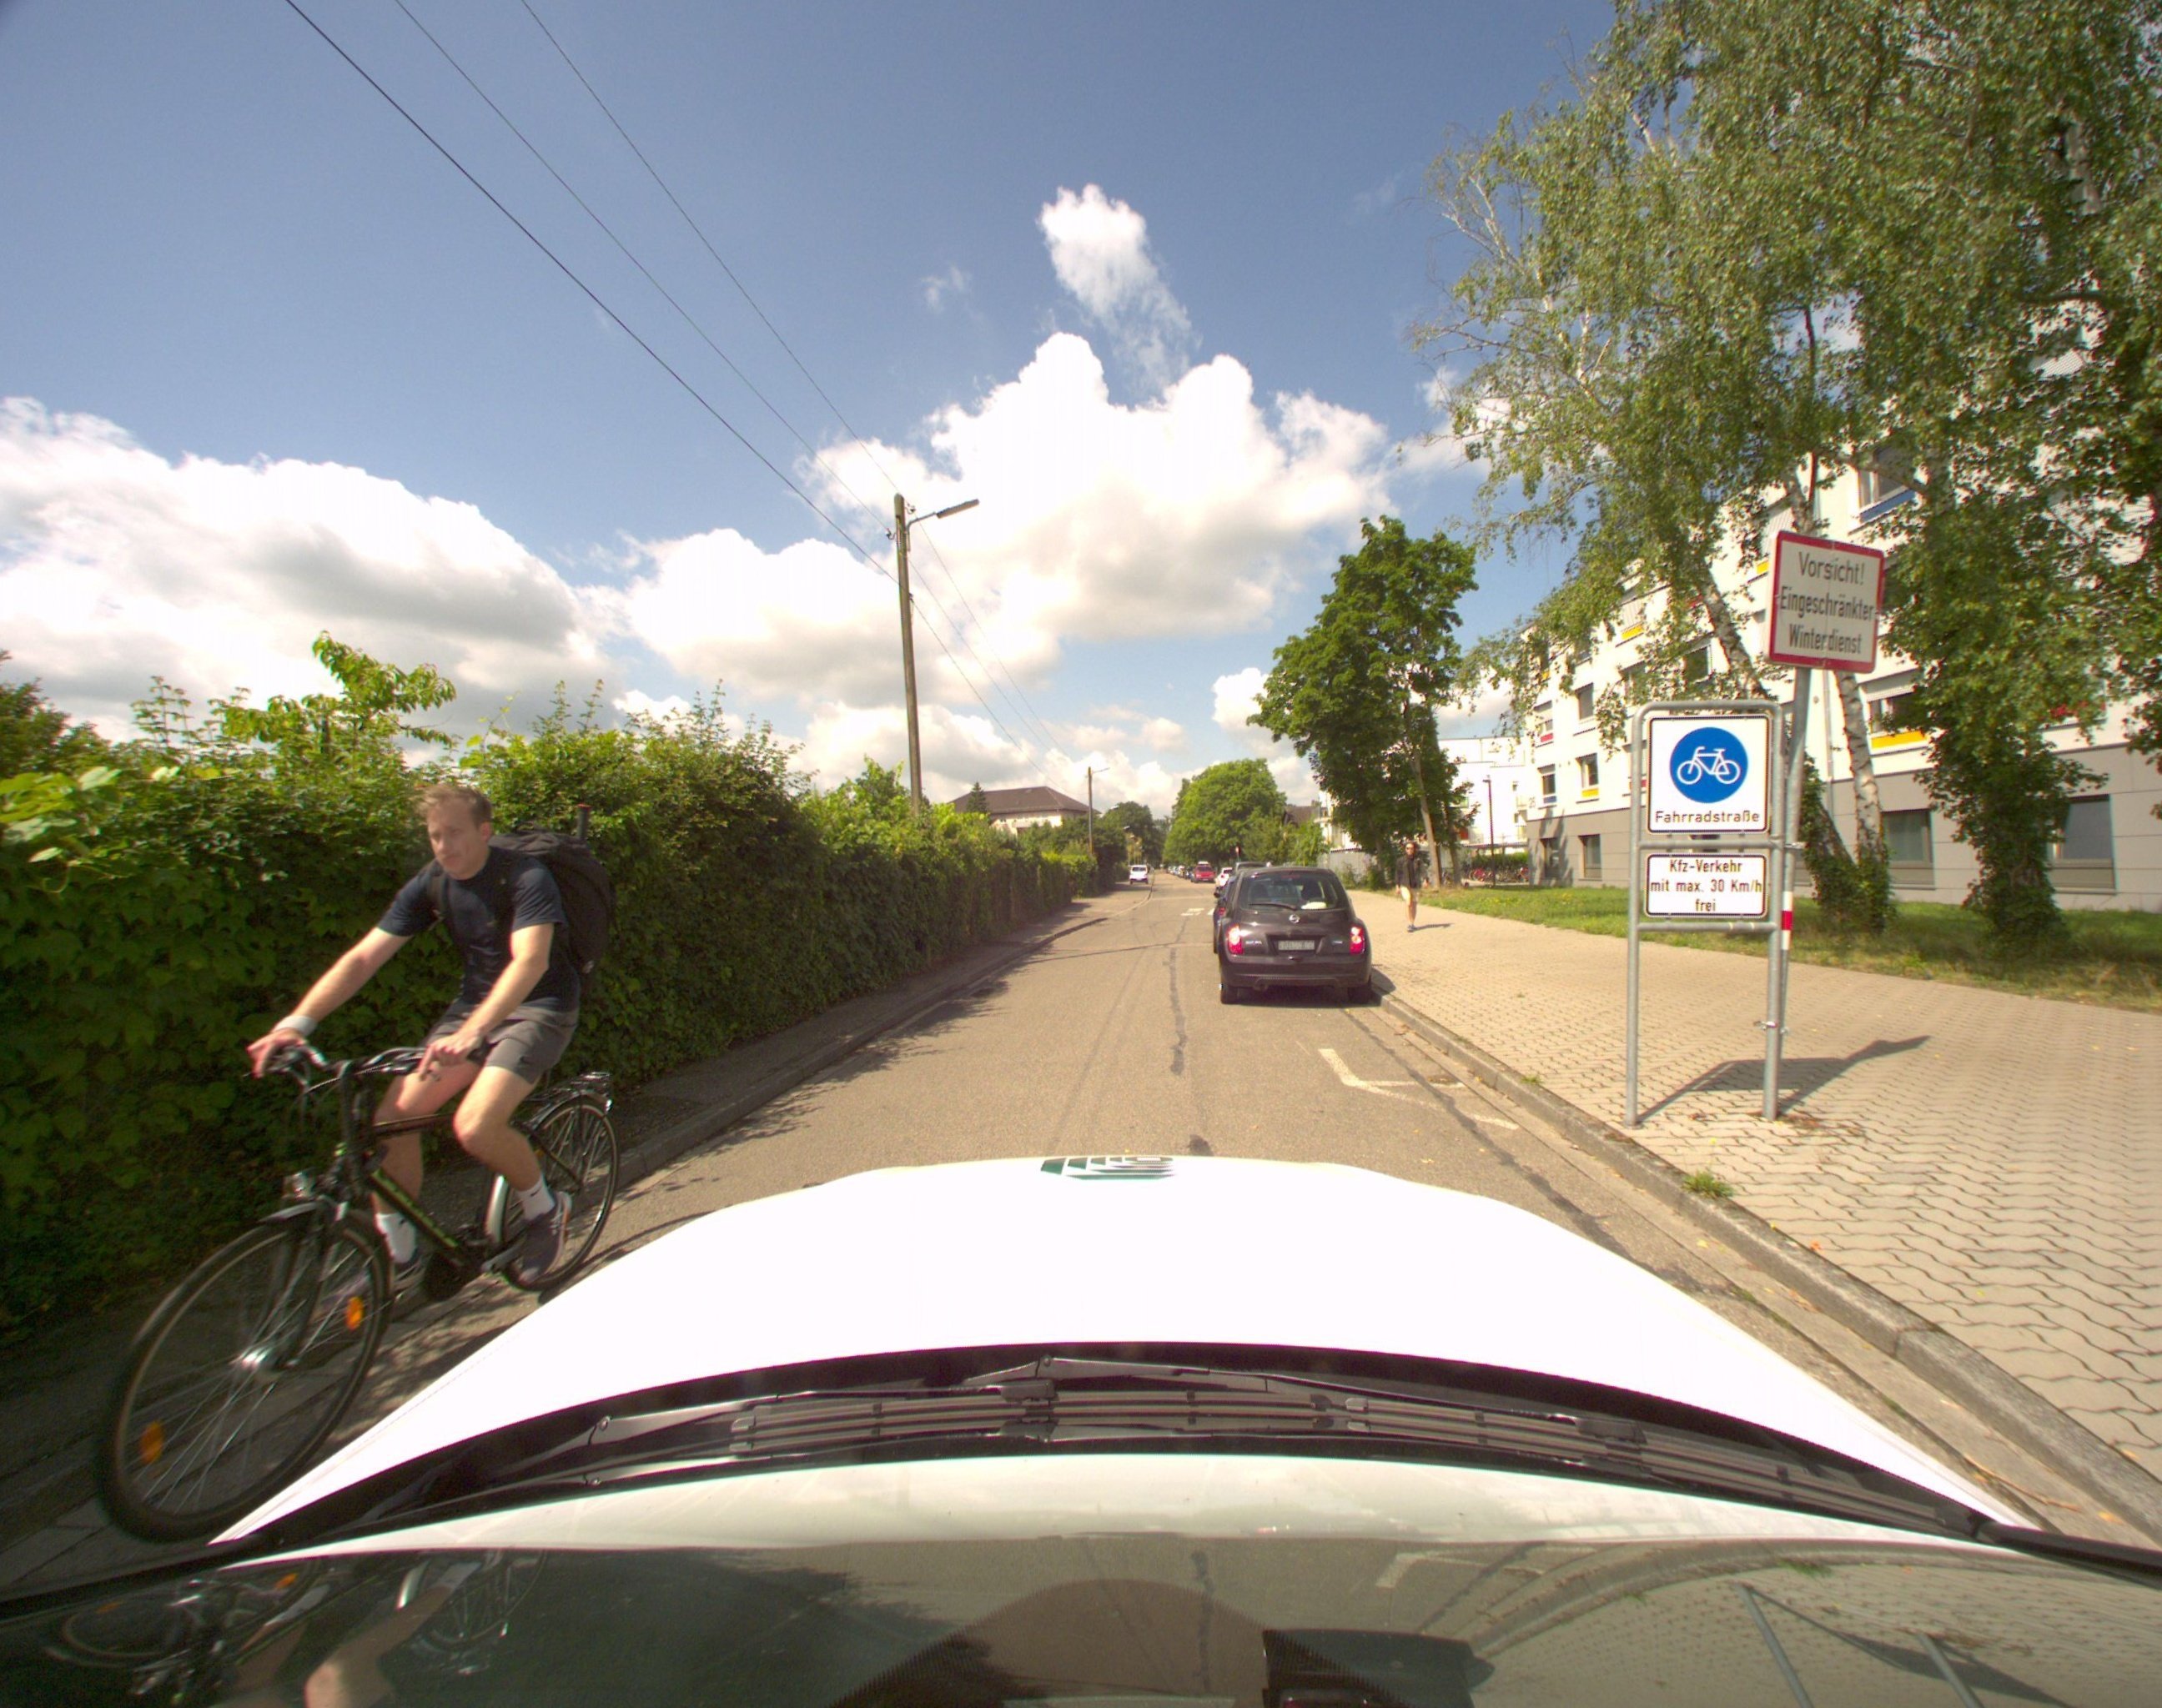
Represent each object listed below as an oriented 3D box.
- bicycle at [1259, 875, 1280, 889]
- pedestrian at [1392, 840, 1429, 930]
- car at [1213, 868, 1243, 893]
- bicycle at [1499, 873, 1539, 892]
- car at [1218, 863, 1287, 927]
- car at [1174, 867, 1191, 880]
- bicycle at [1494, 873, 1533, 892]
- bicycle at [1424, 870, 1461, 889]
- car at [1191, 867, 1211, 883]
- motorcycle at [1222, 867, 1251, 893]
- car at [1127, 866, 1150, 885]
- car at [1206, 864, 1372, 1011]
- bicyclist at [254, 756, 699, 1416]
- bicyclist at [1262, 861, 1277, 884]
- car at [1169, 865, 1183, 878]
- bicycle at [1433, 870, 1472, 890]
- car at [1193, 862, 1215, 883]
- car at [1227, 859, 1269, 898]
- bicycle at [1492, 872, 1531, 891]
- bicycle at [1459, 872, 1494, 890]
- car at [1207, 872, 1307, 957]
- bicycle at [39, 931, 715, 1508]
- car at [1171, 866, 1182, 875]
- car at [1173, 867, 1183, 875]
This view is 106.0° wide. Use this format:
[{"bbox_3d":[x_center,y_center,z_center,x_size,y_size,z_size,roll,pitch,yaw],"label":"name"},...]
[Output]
[{"bbox_3d":[14.552,2.137,62.730,0.850,1.027,1.832,-2,-2,38],"label":"bicycle"},{"bbox_3d":[6.525,0.614,16.173,0.605,1.746,0.725,-1,-2,18],"label":"pedestrian"},{"bbox_3d":[9.483,1.686,52.774,1.669,1.519,4.008,-1,-2,8],"label":"car"},{"bbox_3d":[27.180,1.756,50.545,2.035,1.079,0.689,-4,-2,8],"label":"bicycle"},{"bbox_3d":[4.613,1.062,21.889,1.652,1.552,3.649,-1,-2,12],"label":"car"},{"bbox_3d":[12.877,2.467,102.905,2.047,1.652,4.550,-1,-2,8],"label":"car"},{"bbox_3d":[27.343,1.785,51.496,2.035,1.079,0.689,-4,-2,8],"label":"bicycle"},{"bbox_3d":[23.319,1.638,52.532,2.035,1.079,0.689,-4,-2,8],"label":"bicycle"},{"bbox_3d":[12.758,2.214,86.726,2.047,1.652,4.550,-1,-2,8],"label":"car"},{"bbox_3d":[8.161,1.356,42.833,1.420,1.362,0.870,-1,-2,6],"label":"motorcycle"},{"bbox_3d":[5.586,2.087,78.710,1.892,1.814,4.008,-1,-2,8],"label":"car"},{"bbox_3d":[2.498,0.910,10.459,1.653,1.506,4.011,-1,-2,10],"label":"car"},{"bbox_3d":[-1.999,0.675,2.857,0.655,1.852,1.045,-4,-2,7],"label":"bicyclist"},{"bbox_3d":[14.530,1.416,62.734,0.777,1.786,0.900,-2,-2,37],"label":"bicyclist"},{"bbox_3d":[14.921,2.745,127.971,2.047,1.962,4.550,-1,-2,8],"label":"car"},{"bbox_3d":[23.162,1.618,50.819,2.076,1.119,0.626,-4,-2,9],"label":"bicycle"},{"bbox_3d":[11.744,1.779,78.092,2.047,1.926,4.550,-1,-2,8],"label":"car"},{"bbox_3d":[8.080,1.173,39.555,1.863,1.806,3.441,-1,-2,10],"label":"car"},{"bbox_3d":[27.599,1.767,52.246,2.035,1.079,0.689,-4,-2,8],"label":"bicycle"},{"bbox_3d":[27.711,1.892,57.079,2.035,1.079,0.689,-4,-2,8],"label":"bicycle"},{"bbox_3d":[3.363,1.079,16.007,1.653,1.440,4.218,-1,-2,10],"label":"car"},{"bbox_3d":[-2.039,0.919,2.771,0.515,1.150,1.830,-4,-2,7],"label":"bicycle"},{"bbox_3d":[18.478,3.273,157.793,1.841,1.618,4.010,-2,-2,10],"label":"car"},{"bbox_3d":[20.526,3.631,172.200,1.841,1.618,4.010,-1,-2,10],"label":"car"}]
